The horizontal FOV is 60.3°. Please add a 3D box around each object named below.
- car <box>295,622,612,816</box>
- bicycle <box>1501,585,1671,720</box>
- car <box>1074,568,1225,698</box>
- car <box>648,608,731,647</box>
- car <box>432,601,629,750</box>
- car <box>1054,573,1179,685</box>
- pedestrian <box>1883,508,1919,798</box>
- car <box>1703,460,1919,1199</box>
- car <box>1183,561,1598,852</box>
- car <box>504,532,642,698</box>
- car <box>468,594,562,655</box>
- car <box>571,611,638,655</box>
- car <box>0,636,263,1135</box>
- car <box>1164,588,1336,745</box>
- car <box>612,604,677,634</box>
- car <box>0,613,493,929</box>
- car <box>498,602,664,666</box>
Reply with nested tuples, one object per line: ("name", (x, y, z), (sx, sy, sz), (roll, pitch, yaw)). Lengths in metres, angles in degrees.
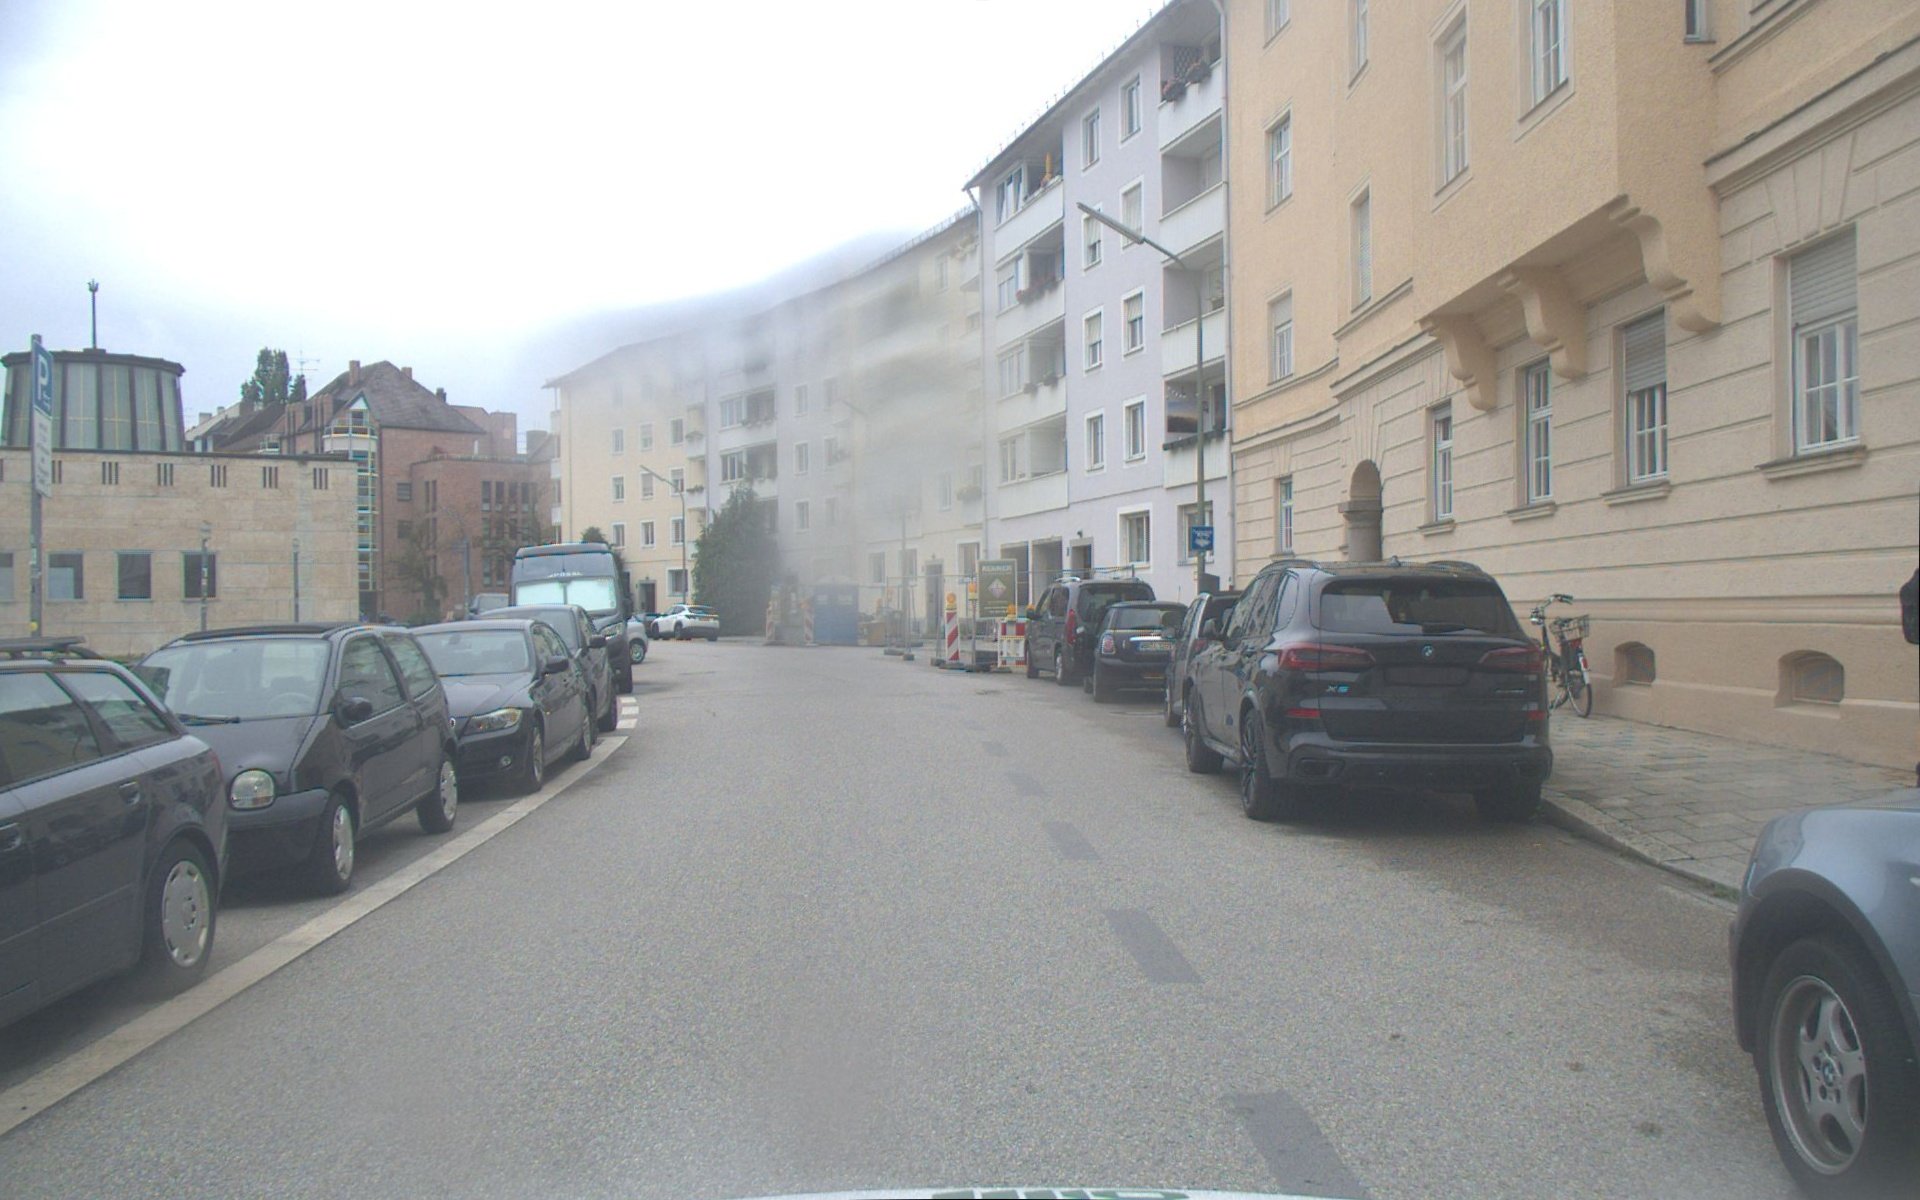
("car", (-4.307, 0.935, 14.746), (1.687, 1.388, 4.210), (-2, 0, -3))
("bicycle", (6.347, 0.510, 16.956), (0.687, 1.268, 2.644), (-1, -1, -1))
("car", (2.754, 0.480, 24.733), (1.799, 1.760, 3.729), (1, -1, 0))
("car", (-12.326, 1.230, 75.115), (2.009, 1.707, 4.557), (2, -1, -34))
("car", (-4.840, 0.811, 18.976), (1.634, 1.485, 2.865), (-3, 0, -5))
("car", (2.735, 0.511, 29.748), (1.799, 1.830, 4.238), (1, -1, 0))
("pedestrian", (6.242, 0.335, 10.474), (0.671, 1.791, 0.692), (0, -1, 31))
("car", (2.994, 0.572, 2.505), (1.741, 1.760, 4.389), (1, -1, 0))
("car", (2.974, 0.624, 12.548), (1.888, 1.760, 4.687), (1, 1, 0))
("car", (-7.020, 0.252, 30.014), (2.107, 2.619, 6.189), (-2, 0, -14))
("car", (-13.986, 0.721, 51.846), (1.969, 1.803, 4.774), (-1, 0, -26))
("car", (-17.894, 1.619, 83.149), (1.732, 2.118, 4.462), (2, -1, -34))
("car", (-3.821, 0.924, 5.123), (1.687, 1.507, 4.202), (-2, -1, -3))
("car", (3.164, 0.700, 18.462), (1.476, 1.584, 2.863), (1, -1, 1))
("car", (-15.139, 0.937, 79.246), (1.646, 1.373, 3.754), (2, -2, -36))
("car", (-4.171, 0.870, 10.131), (1.687, 1.507, 3.751), (-2, -1, -3))
("car", (-9.667, 0.876, 42.391), (1.644, 1.557, 3.962), (0, -1, 39))
